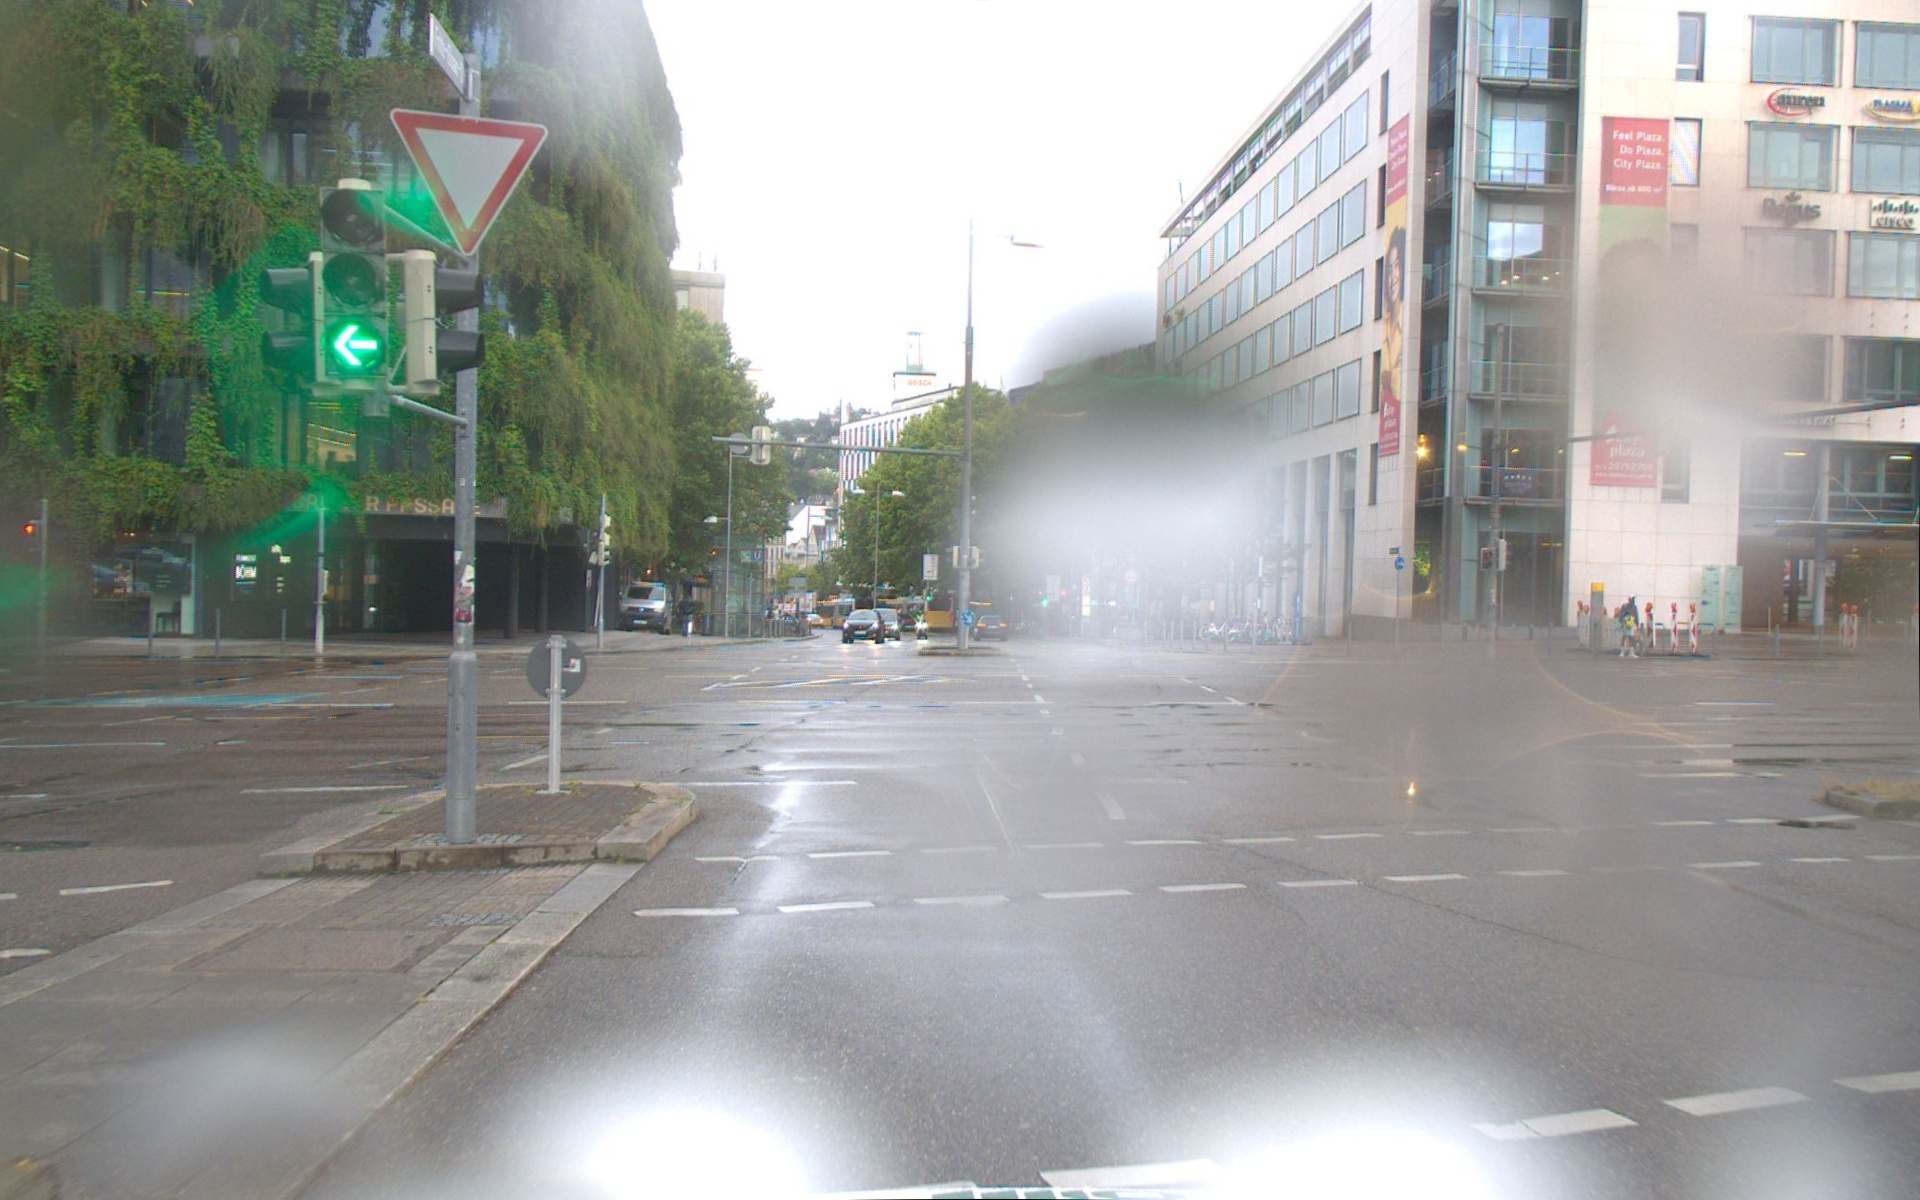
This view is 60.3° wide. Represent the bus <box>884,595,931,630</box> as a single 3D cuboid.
[{"bbox_3d":[-4.837,1.131,151.088,2.585,3.048,7.417,1,0,-16],"label":"bus"}]

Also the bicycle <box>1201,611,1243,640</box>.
[{"bbox_3d":[11.500,1.118,72.555,1.741,1.215,0.586,1,-1,1],"label":"bicycle"}]

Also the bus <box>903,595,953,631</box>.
[{"bbox_3d":[-2.845,1.121,143.971,2.585,3.048,7.417,1,0,-16],"label":"bus"}]

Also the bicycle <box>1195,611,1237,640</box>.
[{"bbox_3d":[11.083,1.099,71.631,1.741,1.215,0.586,1,-1,1],"label":"bicycle"}]

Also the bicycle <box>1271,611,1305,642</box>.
[{"bbox_3d":[12.932,1.043,65.203,0.575,1.215,1.776,0,-1,37],"label":"bicycle"}]

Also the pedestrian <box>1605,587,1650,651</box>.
[{"bbox_3d":[19.447,0.550,48.184,0.942,1.848,0.836,1,-1,-1],"label":"pedestrian"}]

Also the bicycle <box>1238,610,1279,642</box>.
[{"bbox_3d":[11.657,1.014,64.628,0.578,1.215,1.766,1,-1,-28],"label":"bicycle"}]

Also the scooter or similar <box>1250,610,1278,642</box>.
[{"bbox_3d":[11.457,0.981,62.388,0.946,1.215,0.453,0,-1,40],"label":"scooter or similar"}]

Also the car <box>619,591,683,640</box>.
[{"bbox_3d":[-12.316,0.630,66.224,1.832,1.871,3.999,1,-1,-1],"label":"car"}]

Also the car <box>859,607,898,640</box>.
[{"bbox_3d":[-4.678,1.337,93.975,2.121,1.796,5.108,1,-1,-3],"label":"car"}]

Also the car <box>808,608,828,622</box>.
[{"bbox_3d":[-15.222,1.611,177.352,1.745,1.534,3.999,1,-1,-1],"label":"car"}]

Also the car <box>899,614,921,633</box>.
[{"bbox_3d":[-4.237,1.985,140.159,1.745,1.534,3.999,1,-1,-1],"label":"car"}]

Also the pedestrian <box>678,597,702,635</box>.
[{"bbox_3d":[-12.032,0.726,73.626,0.915,1.673,0.774,1,-1,-1],"label":"pedestrian"}]

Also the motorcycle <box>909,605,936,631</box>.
[{"bbox_3d":[-2.364,1.126,102.750,1.521,1.541,4.381,1,-1,-3],"label":"motorcycle"}]

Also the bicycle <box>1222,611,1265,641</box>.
[{"bbox_3d":[11.968,1.089,69.841,1.741,1.215,0.586,1,-1,1],"label":"bicycle"}]

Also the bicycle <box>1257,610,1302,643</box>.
[{"bbox_3d":[12.193,1.002,63.083,1.590,1.215,0.586,1,-1,25],"label":"bicycle"}]

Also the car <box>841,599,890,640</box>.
[{"bbox_3d":[-4.324,0.884,75.348,2.121,1.796,5.108,1,-1,-3],"label":"car"}]

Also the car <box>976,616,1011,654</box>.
[{"bbox_3d":[1.928,1.974,94.073,1.511,2.049,4.671,1,-1,6],"label":"car"}]

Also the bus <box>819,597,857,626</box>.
[{"bbox_3d":[-13.192,1.188,178.209,2.585,3.048,7.417,1,0,-16],"label":"bus"}]

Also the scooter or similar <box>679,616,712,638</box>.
[{"bbox_3d":[-12.851,1.307,80.419,0.612,1.022,1.653,0,0,37],"label":"scooter or similar"}]

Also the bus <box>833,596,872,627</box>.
[{"bbox_3d":[-11.199,1.162,171.141,2.585,3.048,7.296,1,0,-16],"label":"bus"}]

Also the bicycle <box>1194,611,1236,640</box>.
[{"bbox_3d":[10.939,1.088,70.995,1.741,1.215,0.586,1,-1,1],"label":"bicycle"}]

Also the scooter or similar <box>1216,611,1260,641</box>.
[{"bbox_3d":[11.623,1.075,69.214,1.741,1.215,0.586,1,-1,1],"label":"scooter or similar"}]
